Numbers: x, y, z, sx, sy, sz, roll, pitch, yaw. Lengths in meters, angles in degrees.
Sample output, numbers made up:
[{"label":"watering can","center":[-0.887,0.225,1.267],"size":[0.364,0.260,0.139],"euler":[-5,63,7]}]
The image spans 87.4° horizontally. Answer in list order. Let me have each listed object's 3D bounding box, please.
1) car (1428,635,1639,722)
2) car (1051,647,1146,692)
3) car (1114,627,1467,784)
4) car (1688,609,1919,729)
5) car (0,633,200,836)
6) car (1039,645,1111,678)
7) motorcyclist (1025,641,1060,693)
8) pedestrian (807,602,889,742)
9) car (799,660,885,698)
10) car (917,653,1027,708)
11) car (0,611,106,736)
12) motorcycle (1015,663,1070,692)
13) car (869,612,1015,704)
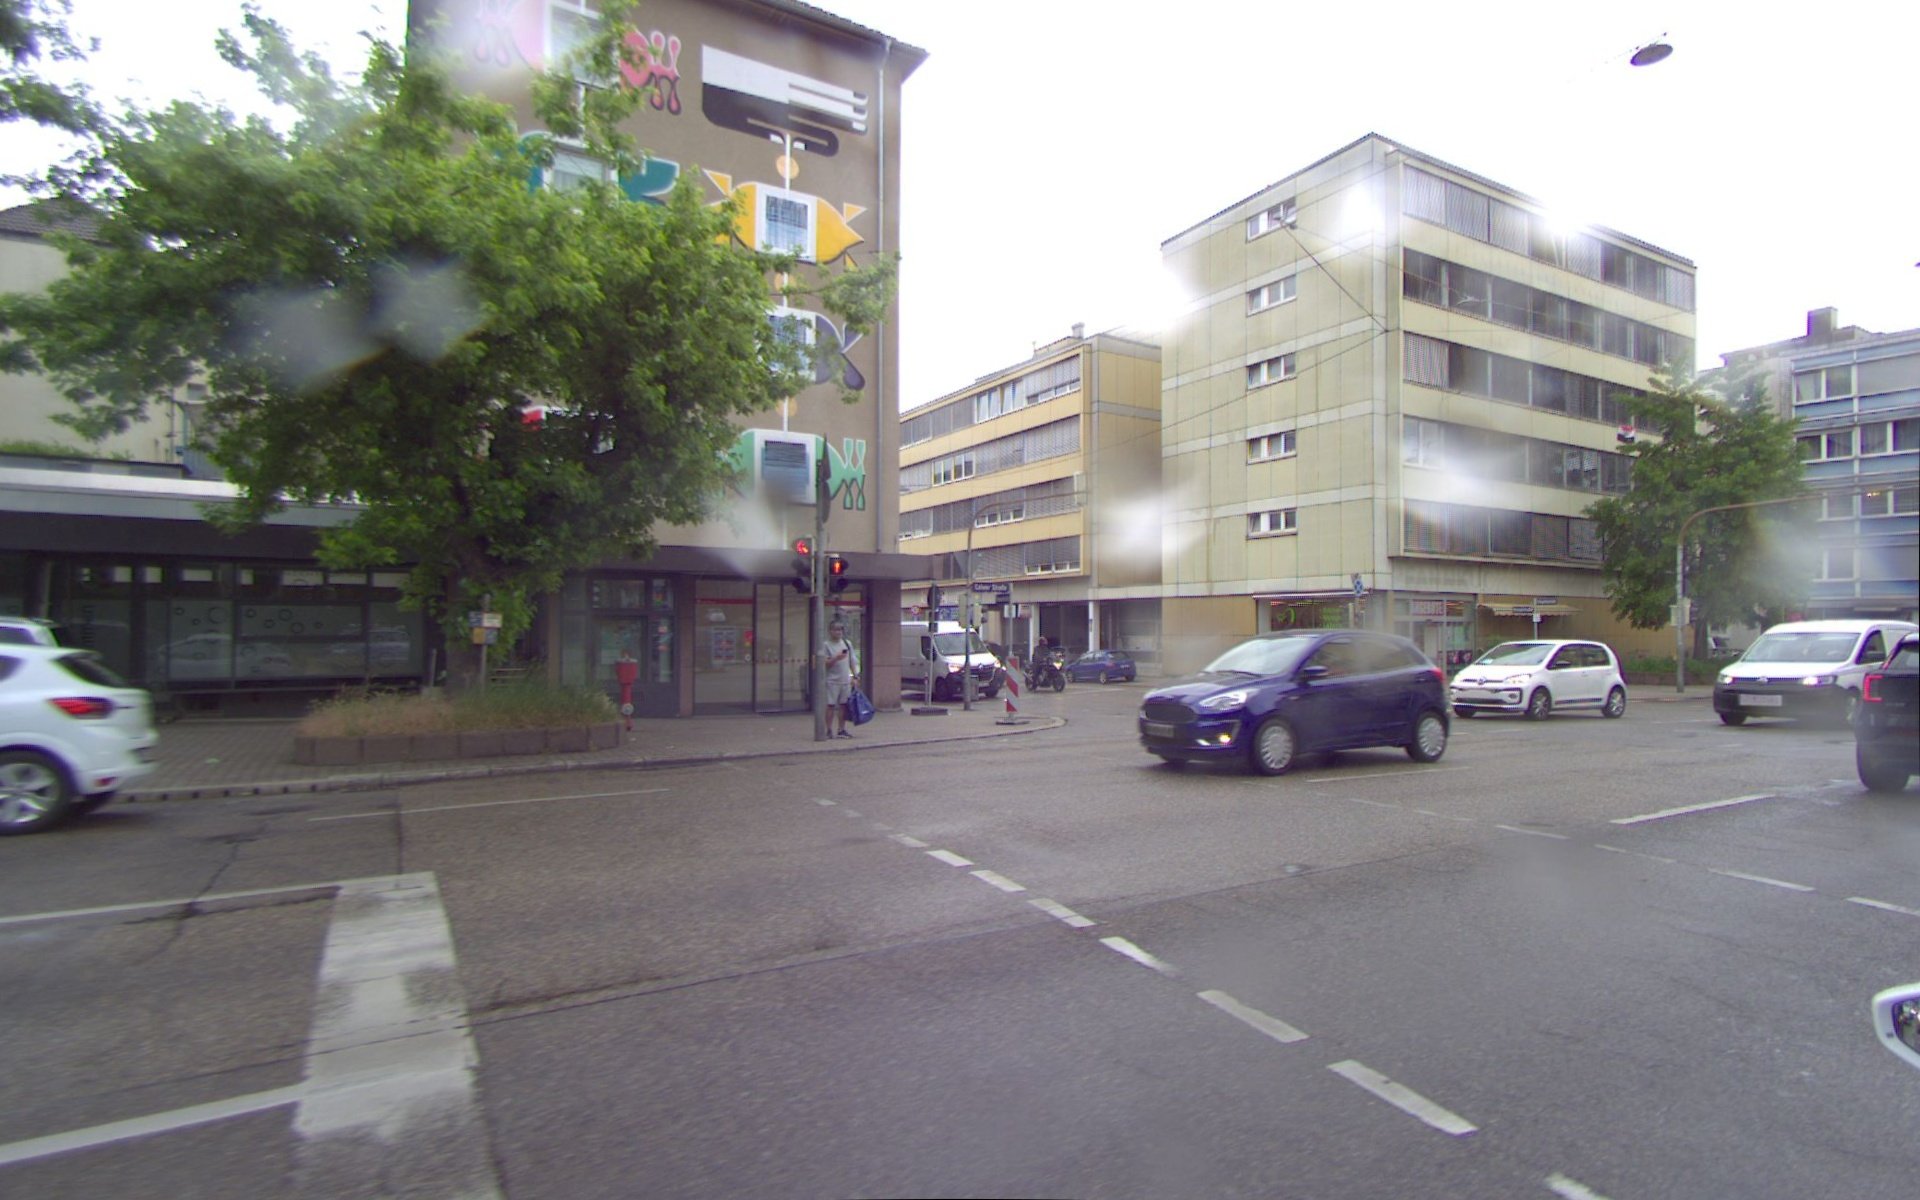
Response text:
[{"label":"car","center":[11.016,1.474,19.274],"size":[3.746,1.497,1.773],"euler":[1,-5,-29]},{"label":"car","center":[6.197,3.157,45.454],"size":[2.009,1.944,4.418],"euler":[1,-4,-29]},{"label":"car","center":[3.805,1.104,11.471],"size":[3.769,1.511,1.779],"euler":[1,-4,-31]},{"label":"car","center":[14.609,1.134,17.216],"size":[4.353,1.839,1.772],"euler":[1,-3,-30]},{"label":"car","center":[-8.686,1.087,7.891],"size":[4.038,1.513,1.986],"euler":[0,-5,-29]},{"label":"car","center":[6.286,3.343,54.743],"size":[3.661,1.597,1.741],"euler":[-1,-3,-36]},{"label":"motorcyclist","center":[2.716,2.207,33.102],"size":[0.908,1.684,0.704],"euler":[-3,-5,42]},{"label":"pedestrian","center":[-1.715,1.084,15.367],"size":[0.879,2.040,0.932],"euler":[2,-3,-40]},{"label":"car","center":[-4.737,3.130,39.747],"size":[1.778,1.386,4.046],"euler":[1,-5,-33]},{"label":"car","center":[0.390,3.069,38.471],"size":[2.014,1.944,4.407],"euler":[1,-5,-35]},{"label":"car","center":[-14.647,0.985,13.565],"size":[4.462,1.676,1.982],"euler":[1,-2,-33]},{"label":"motorcycle","center":[2.711,2.546,33.113],"size":[1.832,0.947,0.614],"euler":[-3,-4,43]},{"label":"car","center":[-0.742,1.951,33.154],"size":[2.161,2.747,5.730],"euler":[1,-4,-32]}]
